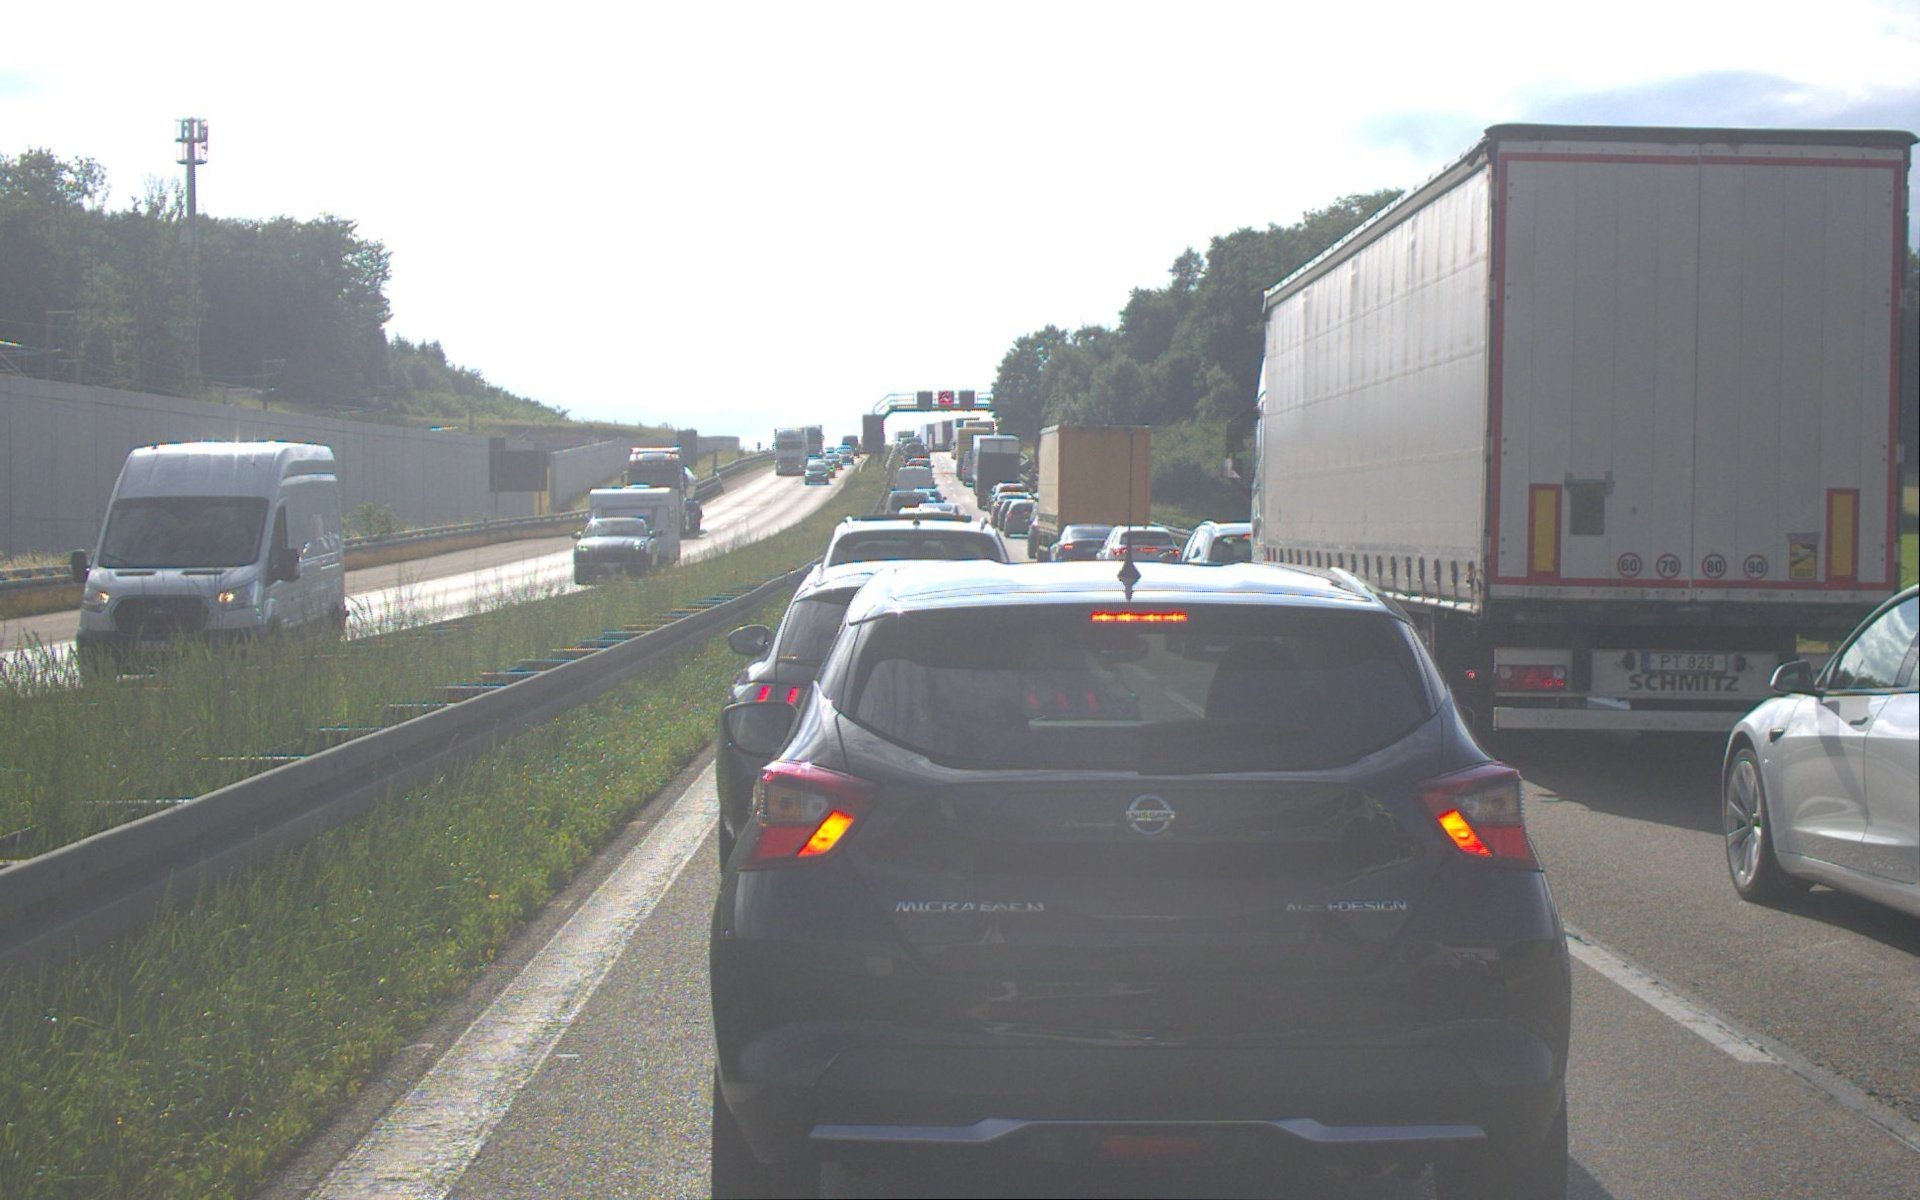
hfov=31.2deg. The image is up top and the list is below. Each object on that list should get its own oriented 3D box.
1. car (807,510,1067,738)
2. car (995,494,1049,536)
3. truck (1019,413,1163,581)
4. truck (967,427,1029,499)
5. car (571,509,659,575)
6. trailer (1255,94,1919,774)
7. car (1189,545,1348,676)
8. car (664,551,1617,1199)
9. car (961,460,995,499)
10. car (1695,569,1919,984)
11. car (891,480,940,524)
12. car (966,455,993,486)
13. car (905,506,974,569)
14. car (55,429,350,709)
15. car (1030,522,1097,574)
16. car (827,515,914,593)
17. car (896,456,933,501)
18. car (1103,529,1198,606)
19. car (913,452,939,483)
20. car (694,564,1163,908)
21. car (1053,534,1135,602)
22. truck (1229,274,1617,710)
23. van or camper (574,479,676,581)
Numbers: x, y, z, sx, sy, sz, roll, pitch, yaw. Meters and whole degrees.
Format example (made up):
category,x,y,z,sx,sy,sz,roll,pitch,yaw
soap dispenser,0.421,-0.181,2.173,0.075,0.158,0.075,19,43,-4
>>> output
category,x,y,z,sx,sy,sz,roll,pitch,yaw
car,-0.180,0.145,26.921,1.873,1.638,4.232,0,1,0
car,2.556,-3.551,143.129,1.873,1.638,4.233,0,2,-4
truck,3.711,-2.871,100.754,3.296,4.562,12.442,1,0,-2
truck,2.436,-8.957,225.654,3.464,4.561,12.443,1,2,-2
car,-8.932,-1.488,89.250,1.910,1.666,4.362,0,1,-1
trailer,4.495,-0.979,27.033,3.130,3.997,13.366,1,0,0
car,3.944,0.098,44.514,1.697,1.605,4.437,0,1,1
car,0.322,0.605,8.522,1.773,1.446,4.232,0,1,0
car,1.052,-7.024,200.084,1.873,2.151,5.212,0,4,-1
car,4.157,0.605,12.773,1.788,1.389,4.437,0,1,-2
car,-1.760,-3.875,135.469,1.873,1.638,4.233,0,2,-2
car,1.422,-9.605,255.194,1.873,2.151,5.212,0,4,-1
car,-0.573,-1.755,95.223,1.873,1.638,4.233,0,2,0
car,-8.247,-0.360,38.008,2.104,2.860,5.637,0,1,-1
car,3.356,-1.697,111.764,1.873,1.638,4.233,0,1,-2
car,-1.975,-1.055,76.800,1.873,1.638,4.233,0,2,0
car,-2.357,-6.346,178.930,1.873,2.151,5.212,0,4,-1
car,4.284,-0.752,77.840,1.873,1.638,4.233,0,2,0
car,-2.476,-9.736,251.950,1.873,2.151,5.212,0,4,-1
car,-0.141,0.523,15.864,1.873,1.353,4.232,0,1,0
car,3.371,-0.835,87.295,1.873,1.638,4.232,0,1,0
truck,4.491,-1.002,34.416,3.133,4.002,5.163,1,0,0
van or camper,-9.192,-1.926,95.017,2.252,2.694,7.171,0,1,-1
